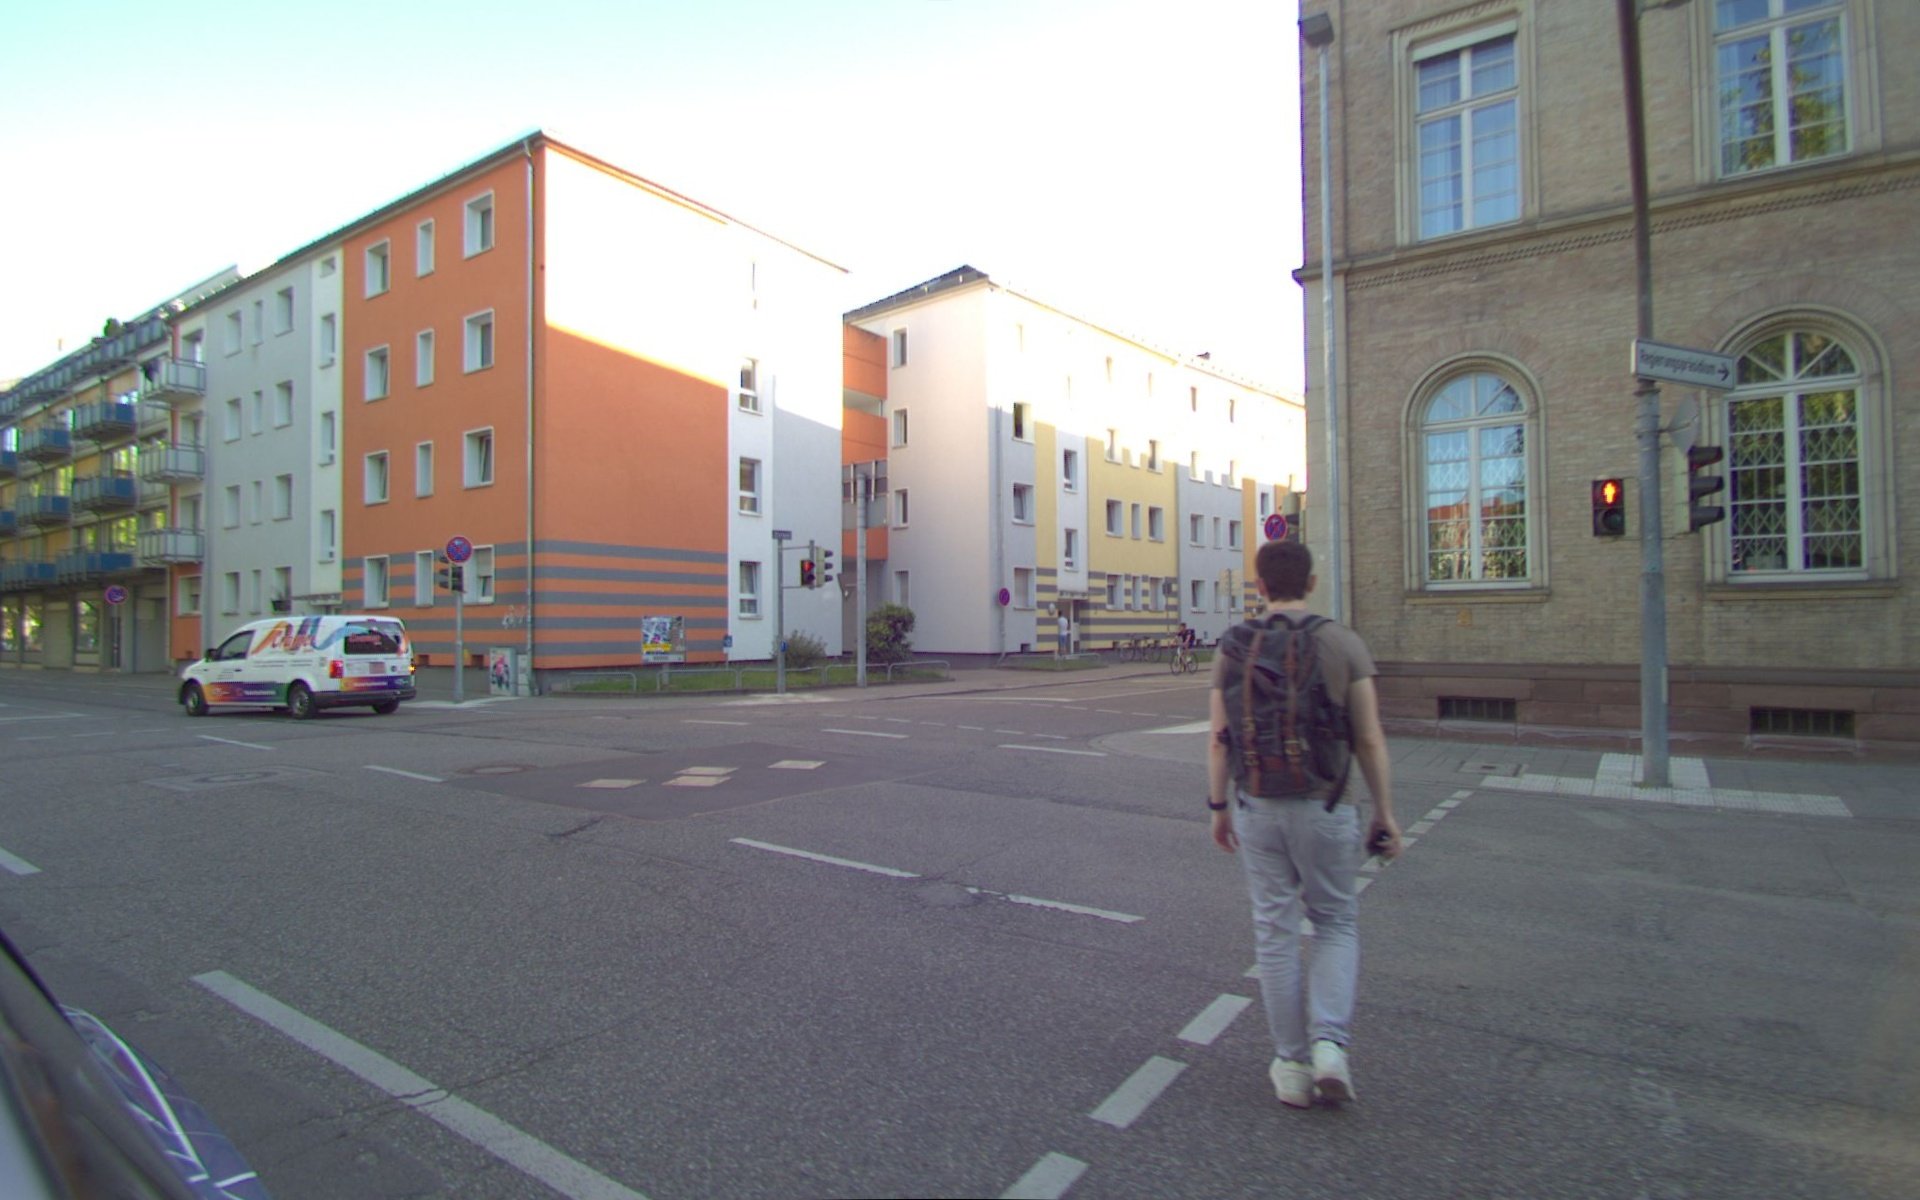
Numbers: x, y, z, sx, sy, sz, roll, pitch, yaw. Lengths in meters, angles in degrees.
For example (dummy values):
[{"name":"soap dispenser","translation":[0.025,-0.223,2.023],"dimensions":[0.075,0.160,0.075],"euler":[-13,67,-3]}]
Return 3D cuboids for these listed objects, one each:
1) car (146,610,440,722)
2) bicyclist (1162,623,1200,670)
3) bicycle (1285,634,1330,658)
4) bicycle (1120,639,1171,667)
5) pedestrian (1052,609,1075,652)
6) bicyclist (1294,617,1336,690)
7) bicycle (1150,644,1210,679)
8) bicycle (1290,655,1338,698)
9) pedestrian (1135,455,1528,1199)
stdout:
[{"name":"car","translation":[-12.376,1.280,18.779],"dimensions":[5.089,1.831,1.985],"euler":[-3,-5,22]},{"name":"bicyclist","translation":[6.803,1.448,31.150],"dimensions":[0.825,1.383,0.793],"euler":[4,-7,-42]},{"name":"bicycle","translation":[16.270,2.151,47.438],"dimensions":[1.871,1.078,0.702],"euler":[-2,-2,35]},{"name":"bicycle","translation":[6.784,1.936,37.010],"dimensions":[1.753,1.000,0.534],"euler":[-1,-2,32]},{"name":"pedestrian","translation":[3.572,1.041,34.906],"dimensions":[0.561,1.472,0.591],"euler":[-2,-3,41]},{"name":"bicyclist","translation":[8.275,1.234,23.595],"dimensions":[0.645,1.659,0.844],"euler":[-3,-3,38]},{"name":"bicycle","translation":[6.773,1.905,31.077],"dimensions":[1.962,1.007,0.791],"euler":[4,-7,-42]},{"name":"bicycle","translation":[8.230,1.756,23.508],"dimensions":[0.495,0.931,1.798],"euler":[-3,-3,38]},{"name":"pedestrian","translation":[1.097,0.561,2.986],"dimensions":[0.871,1.785,0.748],"euler":[1,-3,-45]}]
